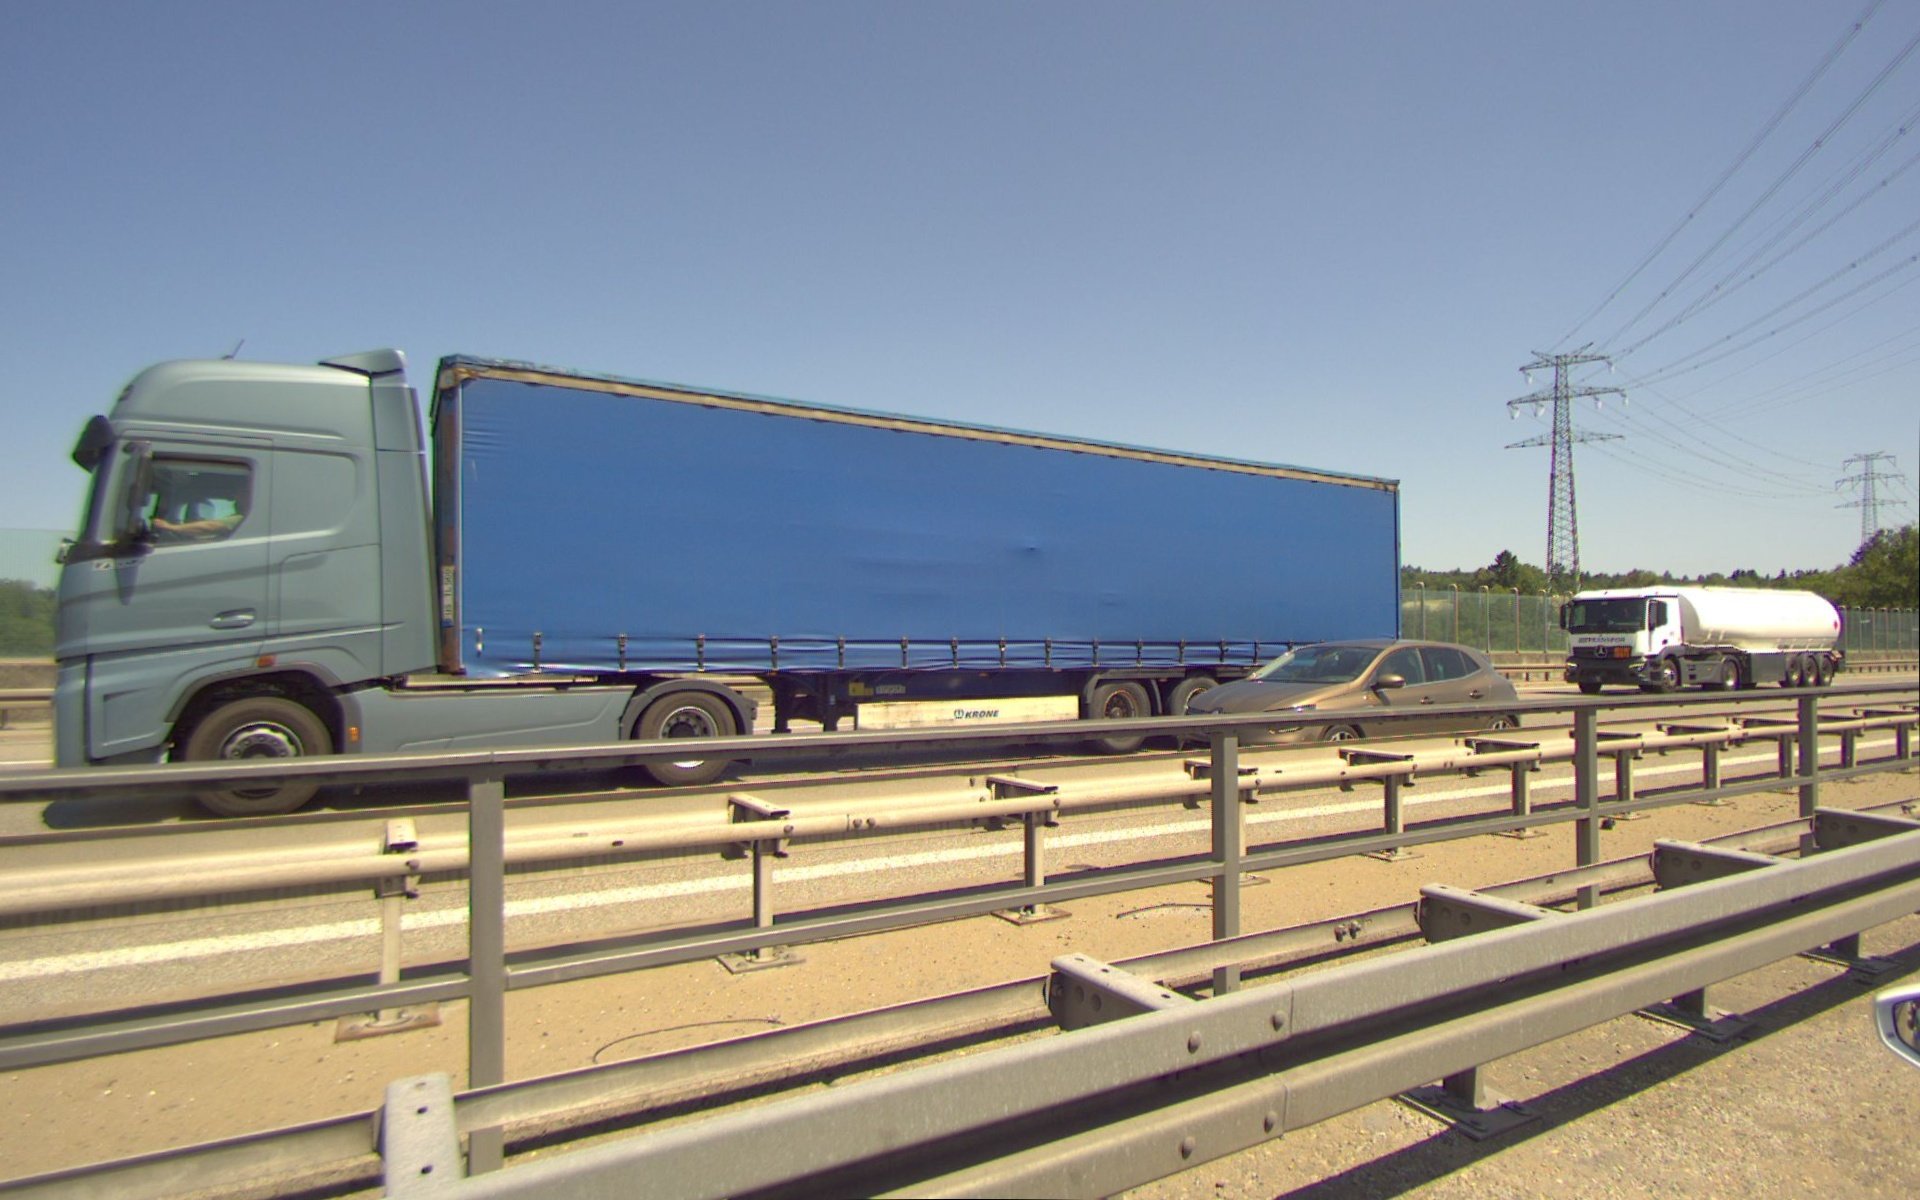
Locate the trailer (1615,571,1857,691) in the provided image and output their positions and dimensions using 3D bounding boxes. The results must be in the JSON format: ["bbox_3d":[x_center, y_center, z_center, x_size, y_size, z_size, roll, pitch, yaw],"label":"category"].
[{"bbox_3d":[26.174,1.139,33.639,10.774,3.586,2.487,2,-3,-30],"label":"trailer"}]

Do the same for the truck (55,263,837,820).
[{"bbox_3d":[-4.684,-0.317,10.272,6.192,4.170,2.740,2,-2,-30],"label":"truck"}]

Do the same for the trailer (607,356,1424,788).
[{"bbox_3d":[1.569,-0.051,14.009,11.911,4.220,2.691,2,-3,-31],"label":"trailer"}]

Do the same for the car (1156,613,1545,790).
[{"bbox_3d":[4.368,1.008,11.099,4.143,1.572,1.872,2,0,-32],"label":"car"}]

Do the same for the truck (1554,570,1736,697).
[{"bbox_3d":[20.864,1.066,30.589,5.266,3.581,2.510,2,-3,-30],"label":"truck"}]
